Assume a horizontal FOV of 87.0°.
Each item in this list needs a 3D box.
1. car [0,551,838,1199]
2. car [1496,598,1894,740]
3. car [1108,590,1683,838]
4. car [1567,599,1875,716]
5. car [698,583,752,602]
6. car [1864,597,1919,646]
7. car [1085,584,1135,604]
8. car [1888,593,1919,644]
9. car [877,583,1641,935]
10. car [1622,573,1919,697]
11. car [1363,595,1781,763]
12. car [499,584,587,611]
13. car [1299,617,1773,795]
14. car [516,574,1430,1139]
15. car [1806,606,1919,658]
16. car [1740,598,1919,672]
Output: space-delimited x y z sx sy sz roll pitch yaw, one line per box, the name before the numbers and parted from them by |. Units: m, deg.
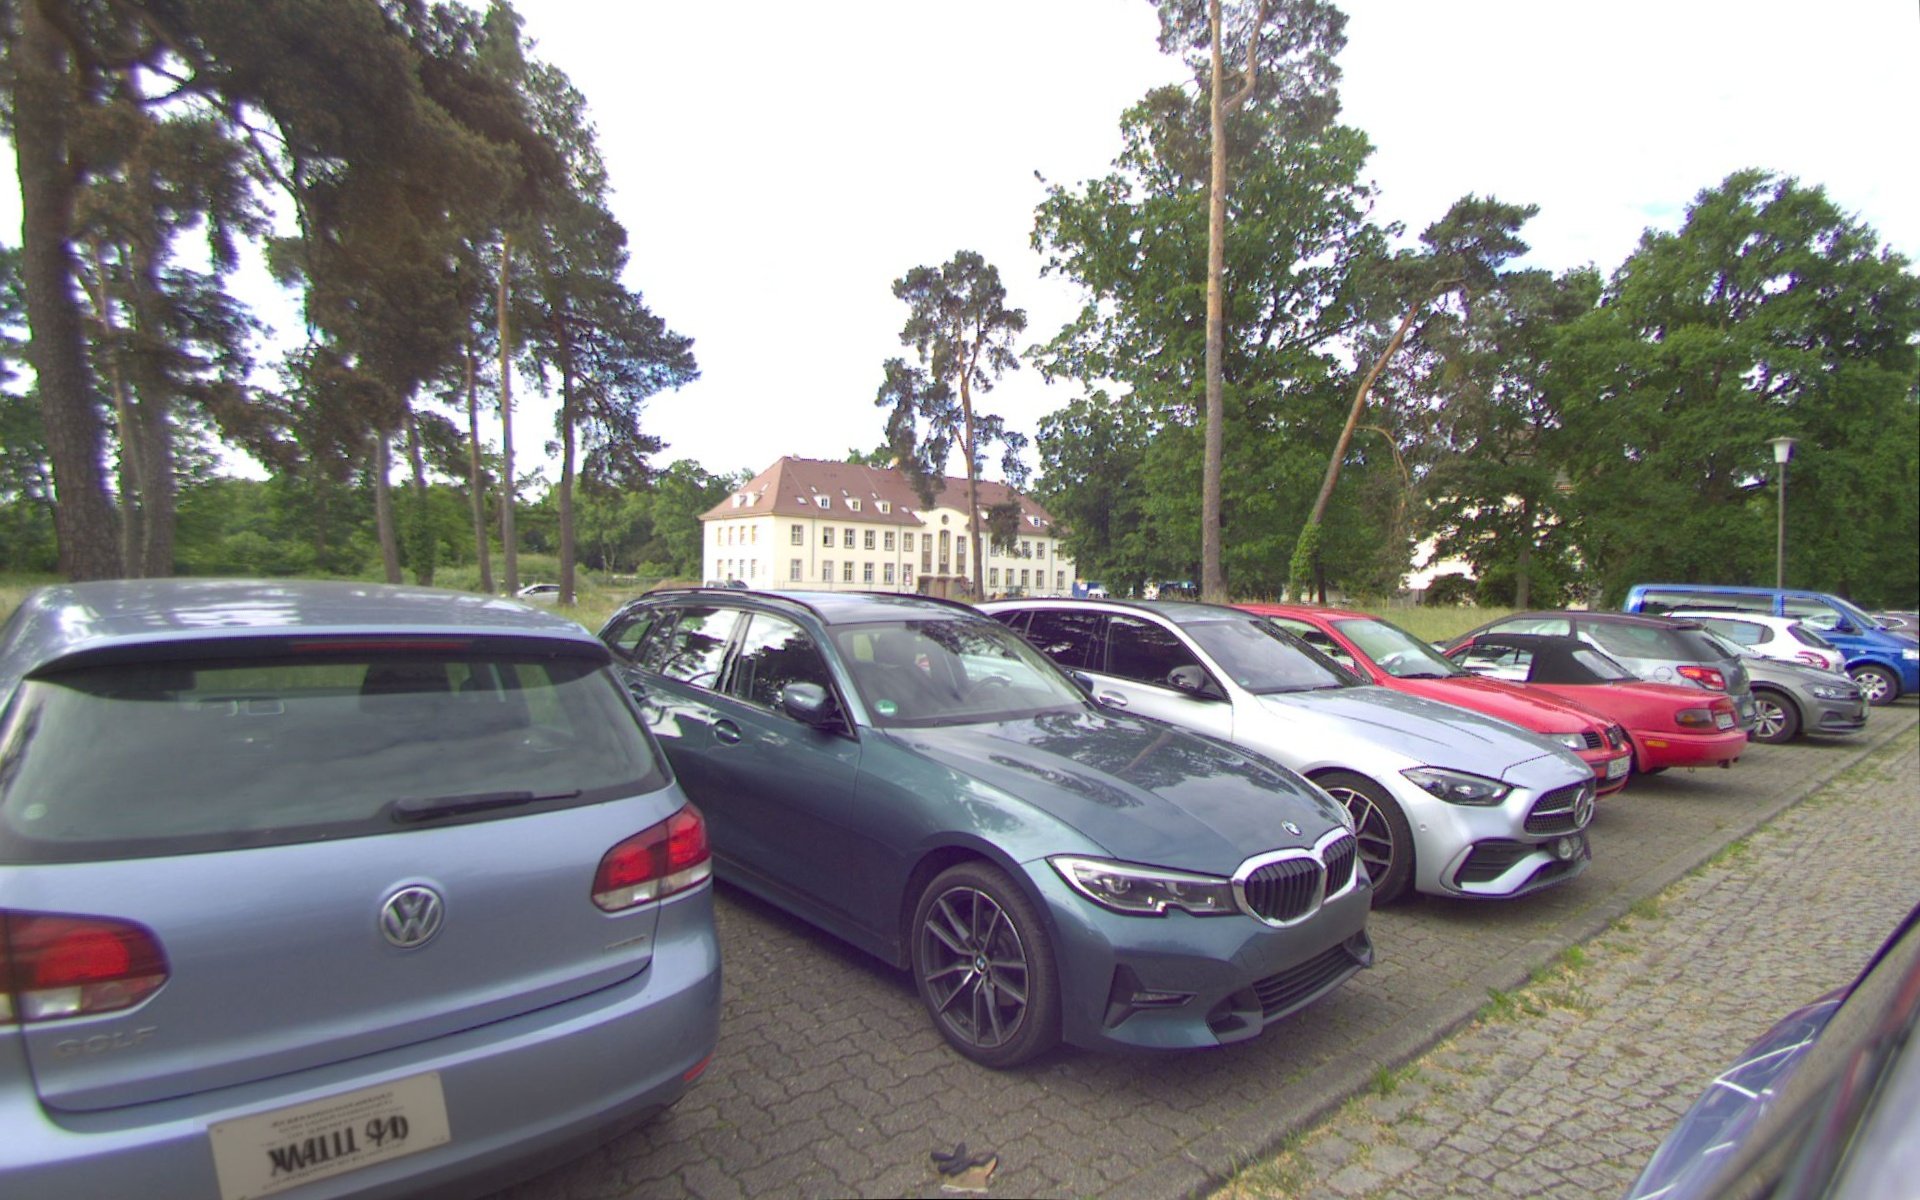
car | -2.137 0.606 3.302 1.577 1.444 3.770 1 1 -41
car | 9.352 0.754 13.138 1.787 1.474 3.849 1 1 -38
car | 3.313 0.690 8.316 1.768 1.470 3.969 1 1 -40
car | 11.279 0.764 15.154 1.608 1.470 3.407 1 1 -40
car | -24.413 -0.782 104.948 6.169 1.882 2.305 2 1 40
car | 36.861 0.846 38.069 1.964 1.784 4.006 1 1 -39
car | 15.444 -0.635 104.149 5.129 2.039 2.154 0 1 -39
car | 40.255 0.777 40.750 1.964 2.039 3.996 1 1 -39
car | 1.561 0.677 6.851 1.780 1.501 4.766 1 1 -40
car | 15.280 0.553 18.682 1.965 1.963 4.746 1 2 -41
car | 6.884 0.753 11.659 1.768 1.524 3.781 1 1 -43
car | -23.251 -0.157 56.540 4.181 1.433 1.886 0 1 -40
car | 5.217 0.840 9.535 1.468 1.222 3.599 1 0 -40
car | -0.440 0.651 5.056 1.732 1.501 4.761 1 1 -44
car | 29.171 0.978 31.565 1.965 1.549 3.994 1 -1 -40
car | 21.723 0.810 24.659 1.965 1.630 3.995 1 1 -40
